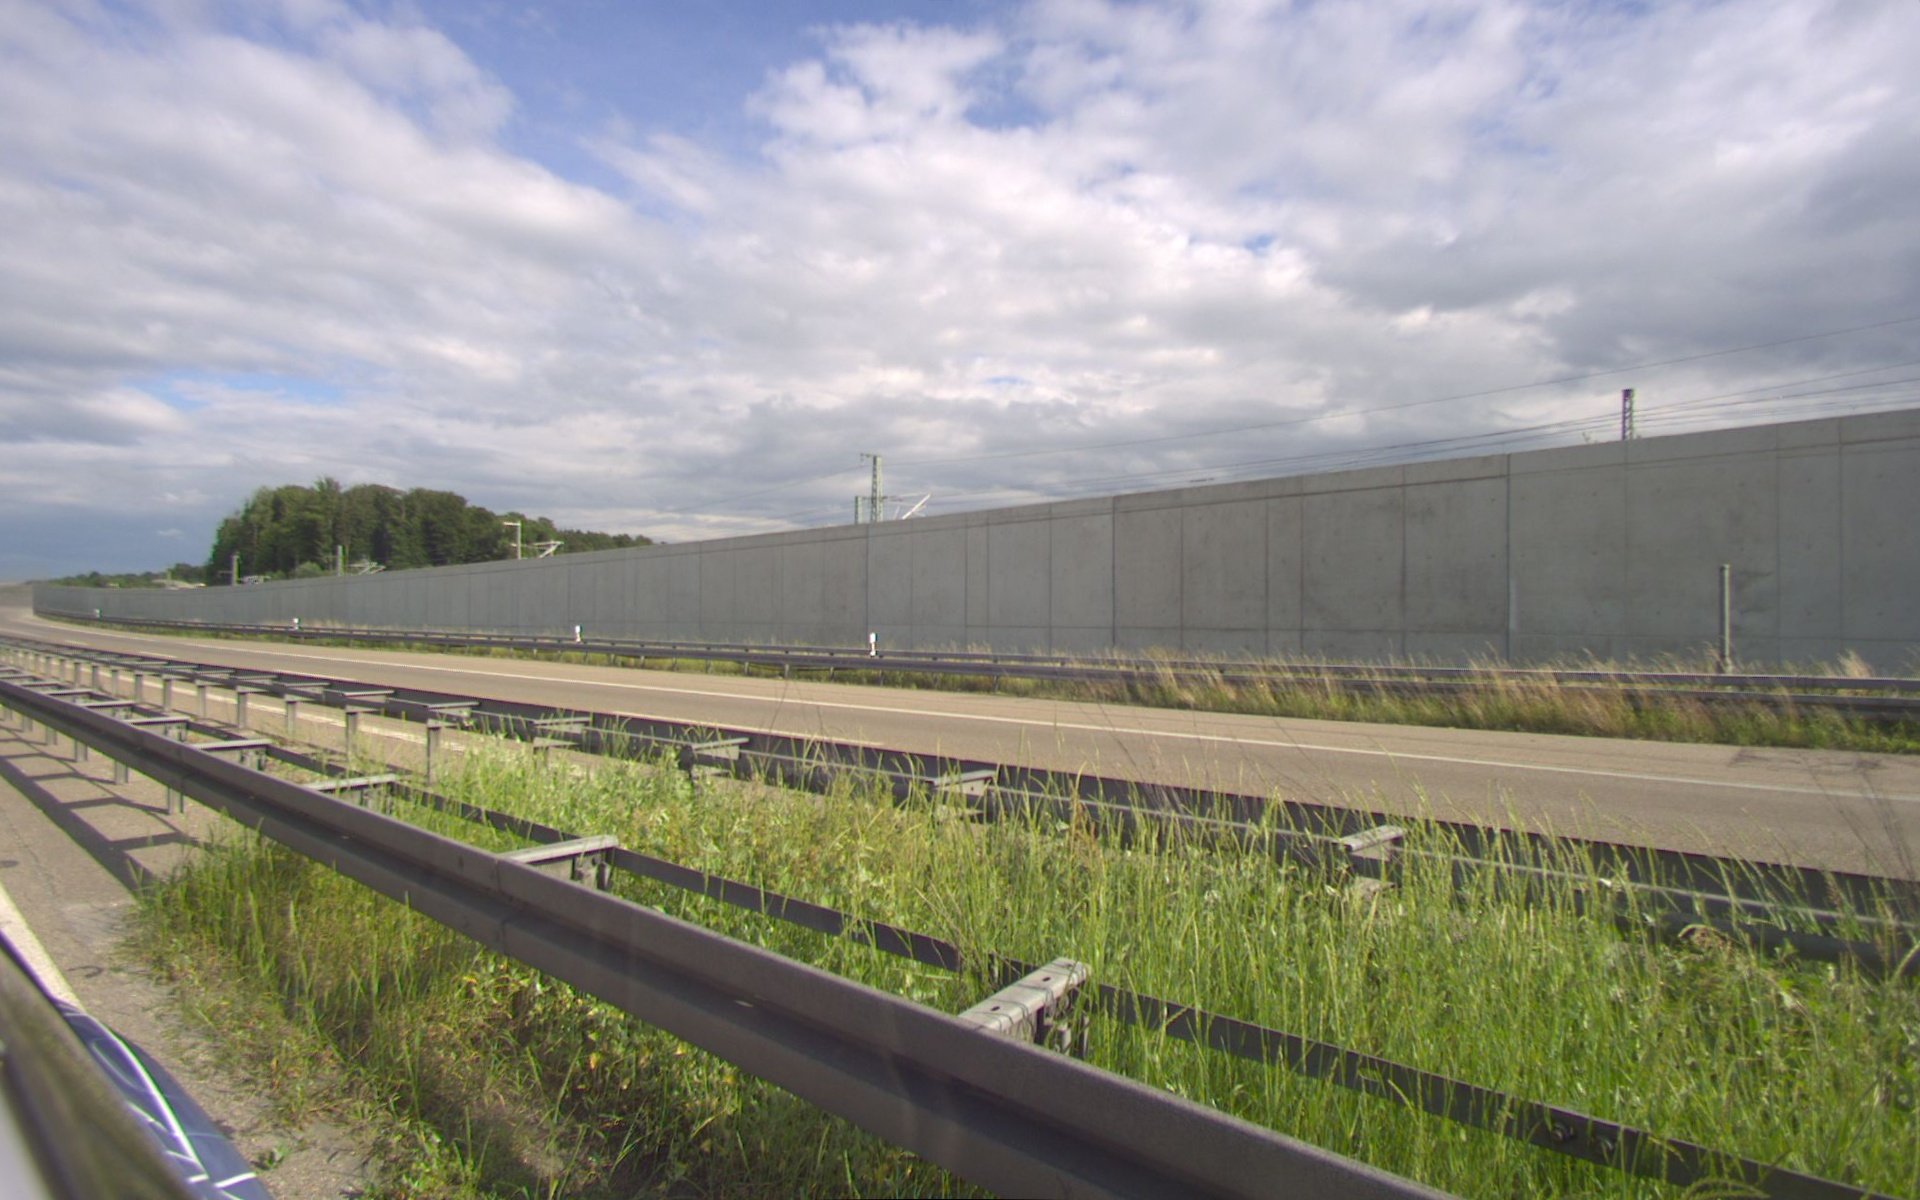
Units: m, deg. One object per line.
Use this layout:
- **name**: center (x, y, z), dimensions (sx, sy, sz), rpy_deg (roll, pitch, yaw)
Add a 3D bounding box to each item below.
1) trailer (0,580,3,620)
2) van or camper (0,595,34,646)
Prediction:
- **trailer**: center (-104.384, 0.051, 107.323), dimensions (13.511, 4.108, 2.761), rpy_deg (-1, -3, 41)
- **van or camper**: center (-54.114, 1.152, 56.891), dimensions (7.166, 2.724, 2.229), rpy_deg (-1, -1, 41)
